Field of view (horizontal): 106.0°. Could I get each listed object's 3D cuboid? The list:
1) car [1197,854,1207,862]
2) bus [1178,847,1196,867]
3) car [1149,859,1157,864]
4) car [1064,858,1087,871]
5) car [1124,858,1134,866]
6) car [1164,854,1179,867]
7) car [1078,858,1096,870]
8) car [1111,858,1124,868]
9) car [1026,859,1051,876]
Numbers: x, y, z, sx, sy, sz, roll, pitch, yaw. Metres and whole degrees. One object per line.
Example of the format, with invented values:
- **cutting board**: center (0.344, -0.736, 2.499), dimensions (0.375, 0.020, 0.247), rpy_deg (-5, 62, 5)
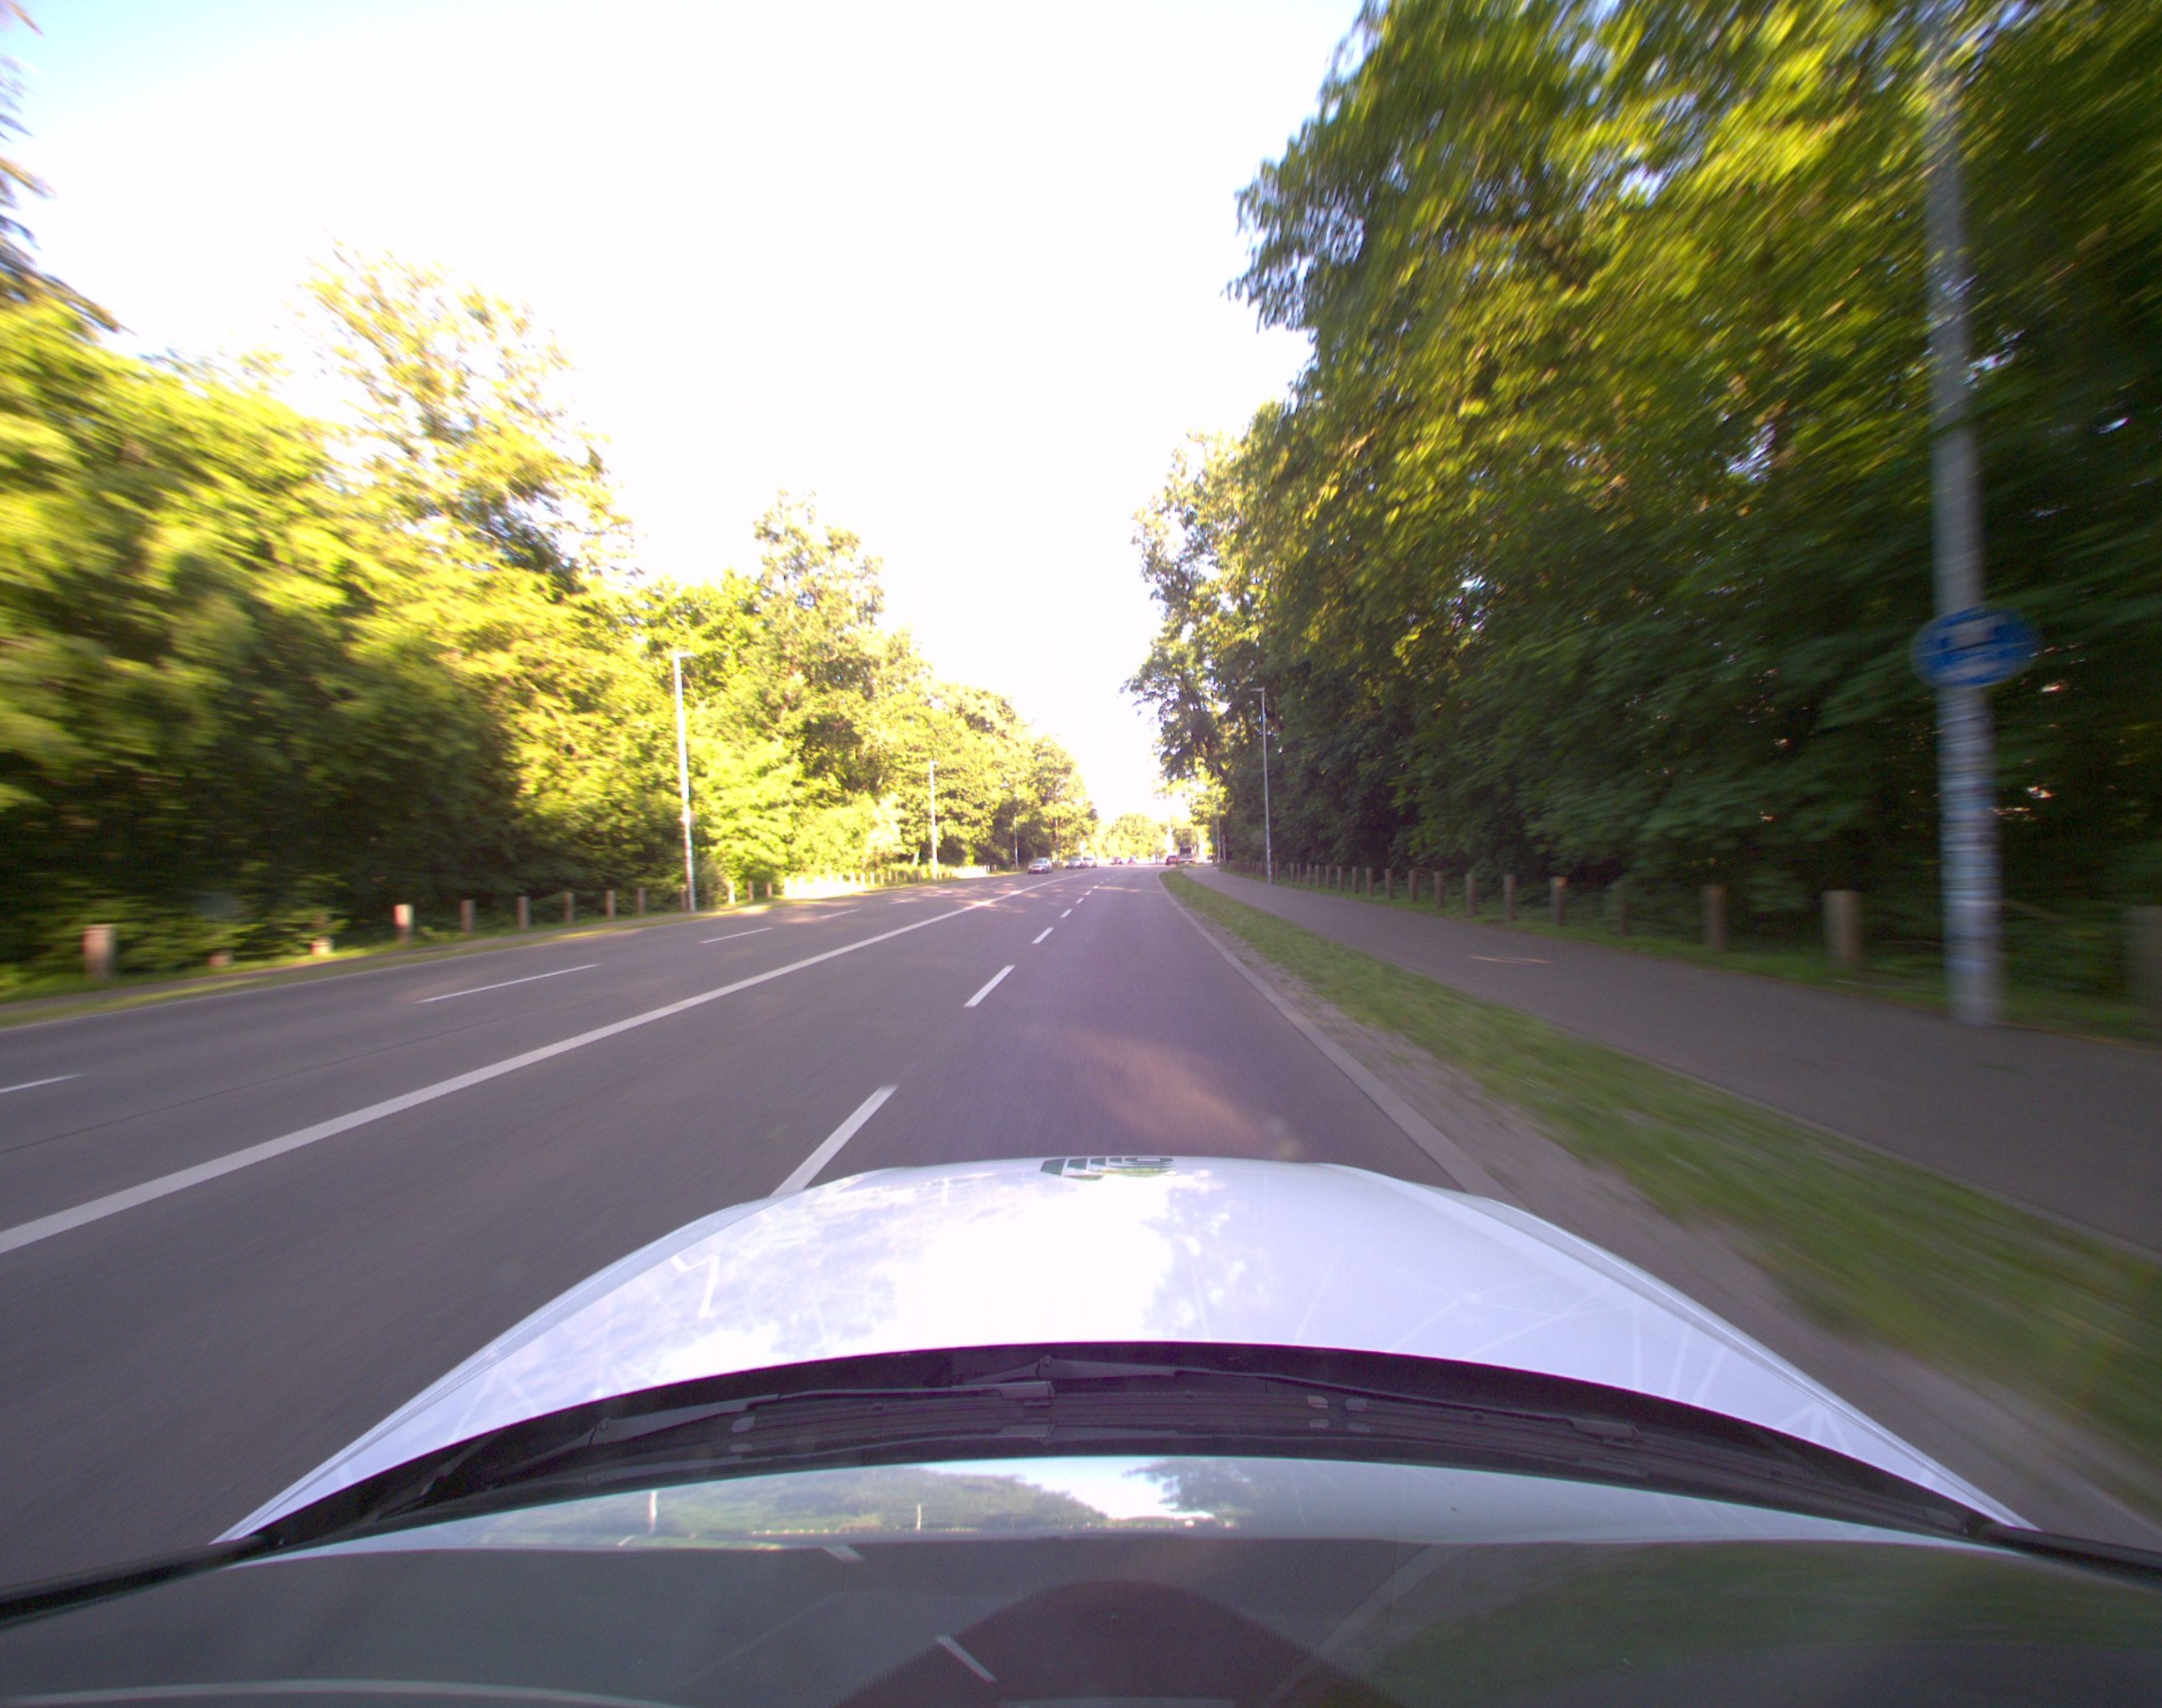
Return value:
- **car**: center (27.839, 0.922, 186.940), dimensions (1.849, 1.684, 3.787), rpy_deg (-3, -1, 15)
- **bus**: center (18.800, 0.481, 144.190), dimensions (2.588, 3.368, 7.999), rpy_deg (-1, 0, 11)
- **car**: center (18.198, 1.890, 206.229), dimensions (1.700, 1.464, 4.111), rpy_deg (0, 0, 9)
- **car**: center (-0.630, 1.241, 96.151), dimensions (1.768, 1.464, 4.287), rpy_deg (-2, -1, 11)
- **car**: center (9.670, 1.639, 164.909), dimensions (1.646, 1.508, 4.010), rpy_deg (-2, -1, 9)
- **car**: center (13.517, 0.958, 121.017), dimensions (1.868, 1.765, 4.012), rpy_deg (-2, 0, 11)
- **car**: center (0.809, 1.282, 105.941), dimensions (1.773, 1.522, 4.407), rpy_deg (-2, 0, 7)
- **car**: center (6.315, 1.548, 141.275), dimensions (1.652, 1.518, 3.818), rpy_deg (-2, -1, 11)
- **car**: center (-3.705, 1.176, 71.800), dimensions (1.772, 1.408, 4.169), rpy_deg (-1, 0, 3)
